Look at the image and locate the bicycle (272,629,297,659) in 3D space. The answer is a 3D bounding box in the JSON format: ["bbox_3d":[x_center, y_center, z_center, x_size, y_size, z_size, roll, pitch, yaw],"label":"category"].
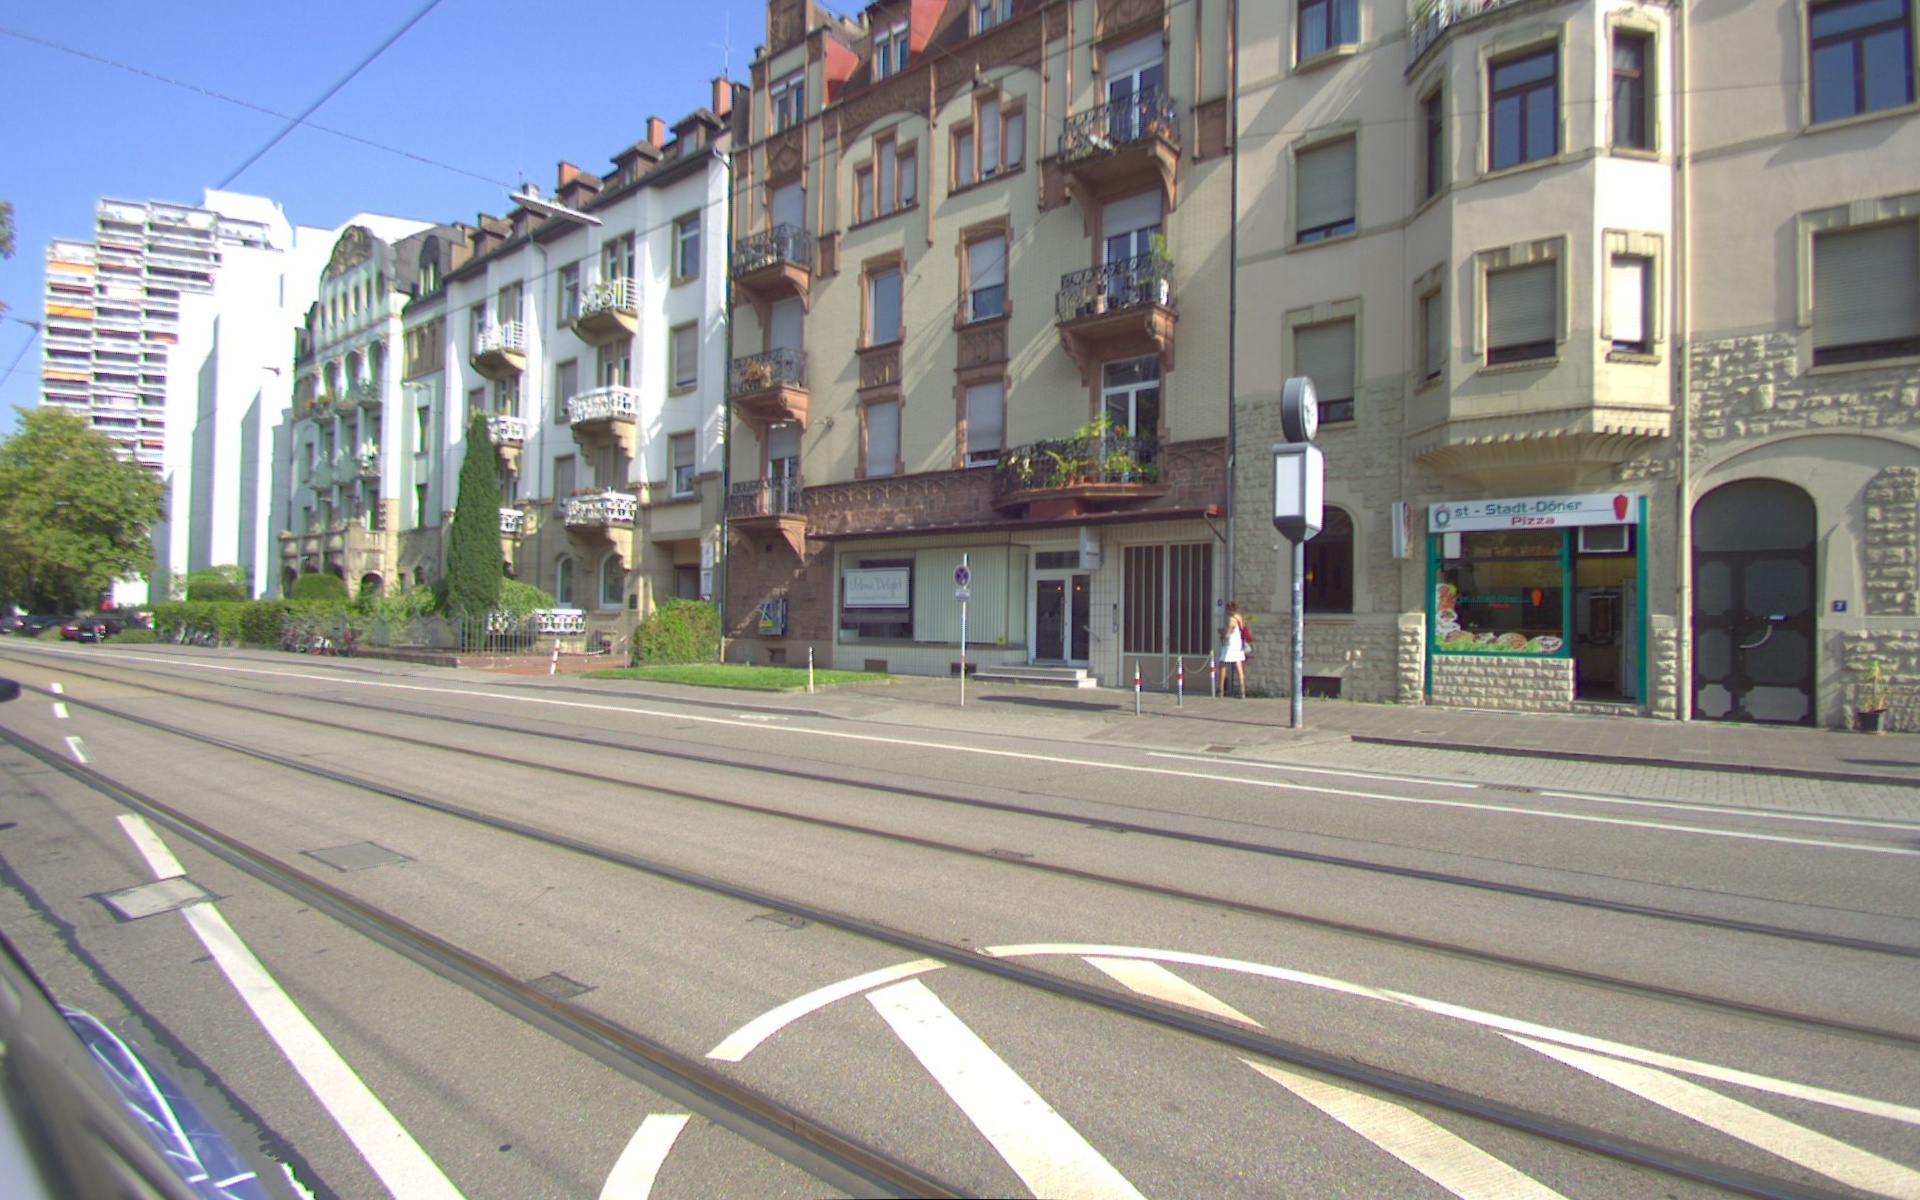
[{"bbox_3d":[-25.381,1.654,38.034,1.354,1.096,0.366,-1,-3,40],"label":"bicycle"}]

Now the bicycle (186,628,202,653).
[{"bbox_3d":[-34.660,1.834,45.801,0.419,1.096,1.679,3,-3,-41],"label":"bicycle"}]

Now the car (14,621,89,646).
[{"bbox_3d":[-59.235,2.179,66.068,1.744,1.539,4.007,1,-2,-9],"label":"car"}]

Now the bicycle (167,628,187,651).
[{"bbox_3d":[-36.827,1.857,47.604,1.676,1.096,0.420,-1,-3,43],"label":"bicycle"}]

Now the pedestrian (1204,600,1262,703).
[{"bbox_3d":[5.157,0.959,19.126,0.829,1.874,0.766,-1,-3,38],"label":"pedestrian"}]

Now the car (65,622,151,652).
[{"bbox_3d":[-46.307,2.007,55.125,1.744,1.539,4.007,1,-2,-9],"label":"car"}]

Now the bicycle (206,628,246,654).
[{"bbox_3d":[-32.002,1.792,44.152,0.423,1.096,1.385,0,-2,22],"label":"bicycle"}]

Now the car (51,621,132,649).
[{"bbox_3d":[-51.138,2.072,59.680,1.744,1.539,4.007,1,-2,-9],"label":"car"}]

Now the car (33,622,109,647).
[{"bbox_3d":[-56.702,2.186,64.654,1.744,1.539,4.007,1,-2,-9],"label":"car"}]

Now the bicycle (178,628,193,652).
[{"bbox_3d":[-35.373,1.829,46.210,0.419,1.096,1.679,3,-3,-41],"label":"bicycle"}]

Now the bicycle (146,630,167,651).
[{"bbox_3d":[-39.441,1.993,49.665,1.768,0.985,0.420,-1,-3,39],"label":"bicycle"}]

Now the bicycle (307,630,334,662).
[{"bbox_3d":[-22.070,1.581,34.938,1.354,1.096,0.366,-1,-3,40],"label":"bicycle"}]

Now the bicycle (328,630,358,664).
[{"bbox_3d":[-20.663,1.567,33.857,1.486,1.096,0.366,-1,-3,40],"label":"bicycle"}]

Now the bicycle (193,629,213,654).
[{"bbox_3d":[-33.158,1.816,44.330,1.677,1.096,0.419,-1,-3,44],"label":"bicycle"}]

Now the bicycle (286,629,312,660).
[{"bbox_3d":[-24.064,1.619,36.851,1.354,1.096,0.366,-1,-3,40],"label":"bicycle"}]

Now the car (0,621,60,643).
[{"bbox_3d":[-66.128,2.256,71.610,1.744,1.539,4.007,1,-2,-9],"label":"car"}]
